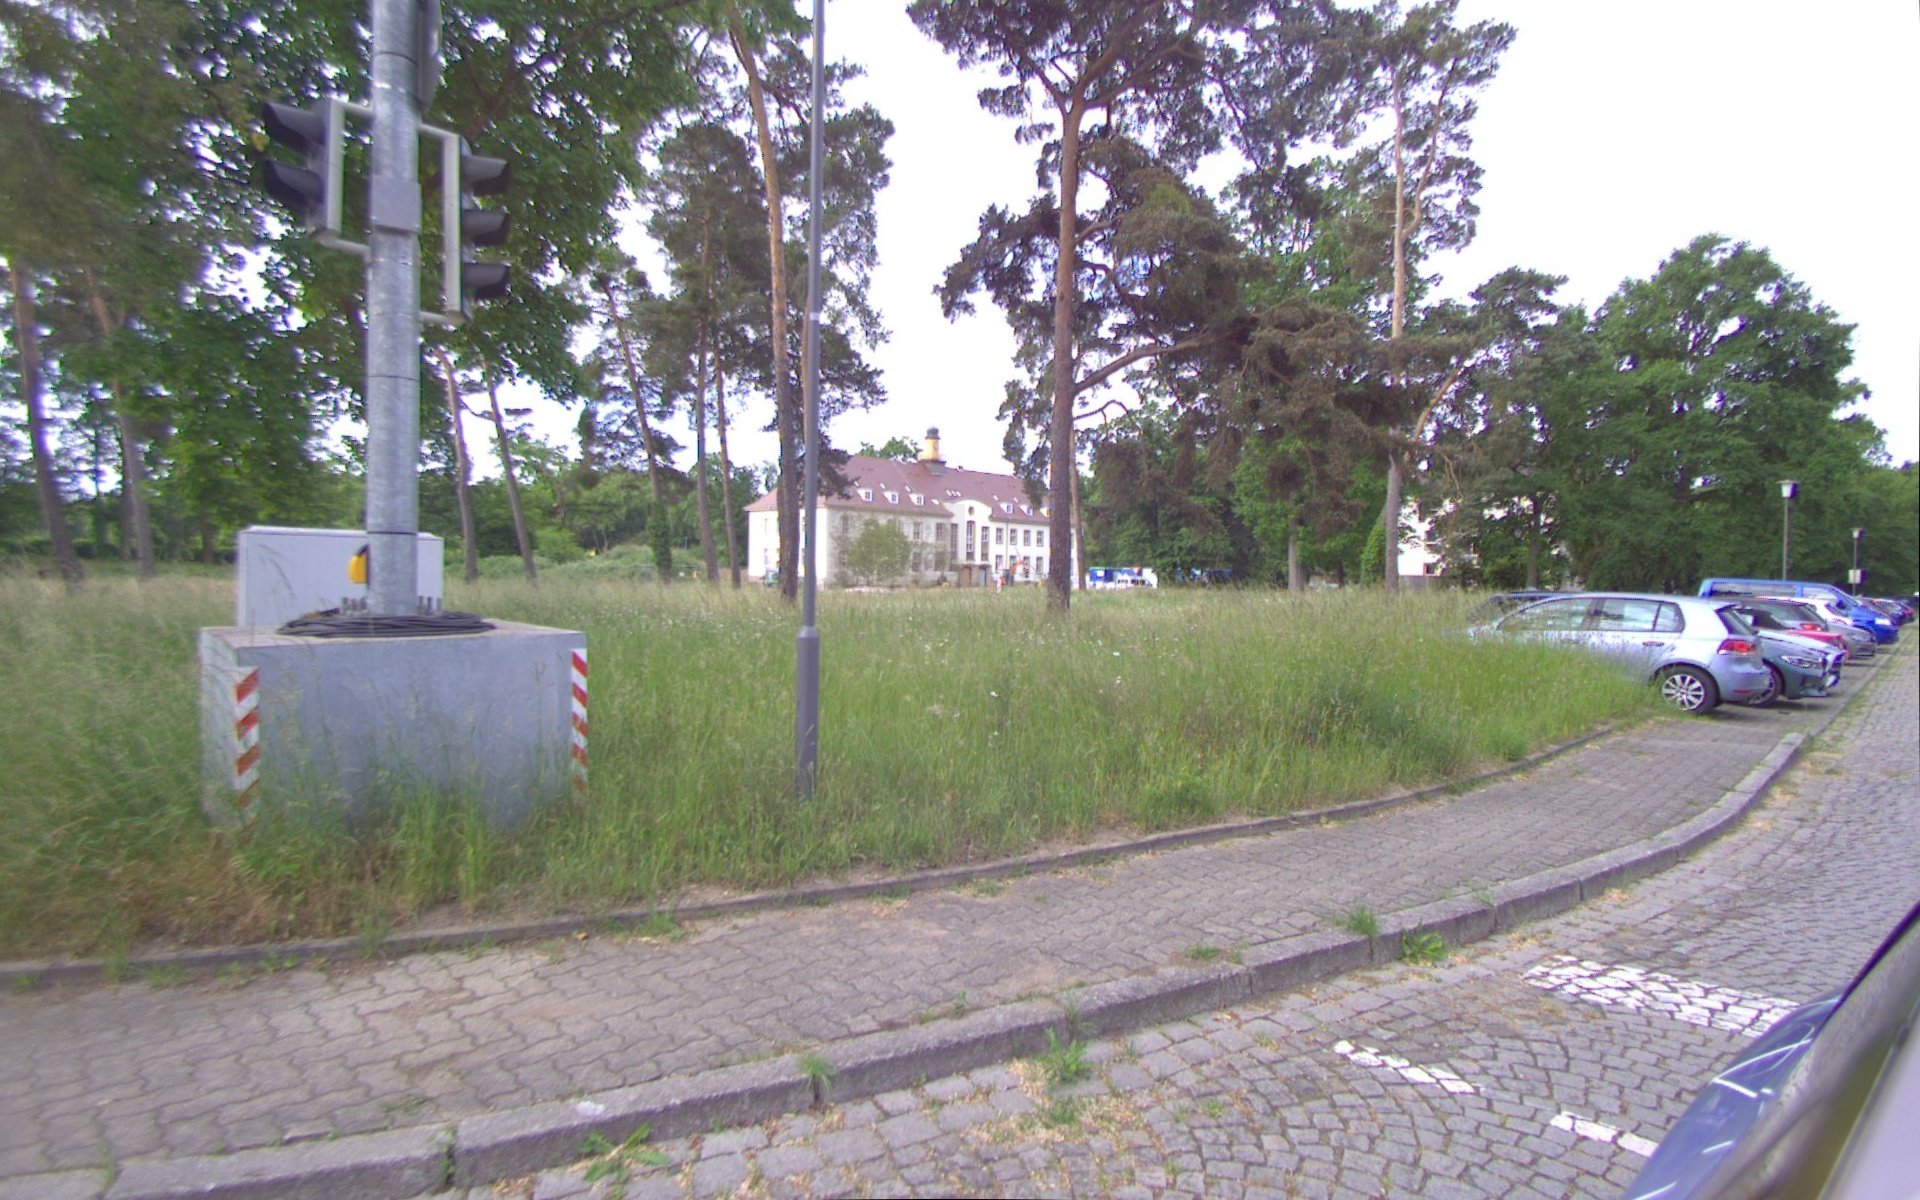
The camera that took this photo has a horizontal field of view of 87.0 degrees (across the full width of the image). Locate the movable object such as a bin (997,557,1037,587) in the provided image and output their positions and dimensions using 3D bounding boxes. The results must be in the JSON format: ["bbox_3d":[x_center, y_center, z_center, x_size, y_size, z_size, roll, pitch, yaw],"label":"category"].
[{"bbox_3d":[7.401,-3.637,131.351,2.017,3.817,5.456,0,1,-40],"label":"movable object such as a bin"}]

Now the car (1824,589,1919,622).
[{"bbox_3d":[48.842,0.282,53.824,1.694,1.552,4.097,1,2,-37],"label":"car"}]

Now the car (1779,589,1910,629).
[{"bbox_3d":[38.098,0.367,43.656,1.697,1.462,4.080,0,3,-42],"label":"car"}]

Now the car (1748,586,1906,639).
[{"bbox_3d":[31.063,0.400,36.334,1.626,1.612,4.081,0,3,-41],"label":"car"}]

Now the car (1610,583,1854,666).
[{"bbox_3d":[17.018,0.464,22.469,1.573,1.535,4.048,0,3,-41],"label":"car"}]

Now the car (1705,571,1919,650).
[{"bbox_3d":[25.078,0.230,29.930,1.879,2.030,4.598,-1,3,-42],"label":"car"}]

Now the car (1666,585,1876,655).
[{"bbox_3d":[21.067,0.464,26.414,1.573,1.535,4.048,0,3,-41],"label":"car"}]

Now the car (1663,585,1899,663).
[{"bbox_3d":[19.374,0.490,24.028,1.671,1.535,4.095,0,3,-41],"label":"car"}]

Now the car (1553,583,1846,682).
[{"bbox_3d":[13.740,0.512,18.989,1.689,1.500,4.178,0,3,-43],"label":"car"}]

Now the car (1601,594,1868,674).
[{"bbox_3d":[15.437,0.611,20.327,1.524,1.255,4.045,0,3,-43],"label":"car"}]

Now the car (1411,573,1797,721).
[{"bbox_3d":[8.386,0.485,13.418,4.004,1.446,1.671,6,4,44],"label":"car"}]

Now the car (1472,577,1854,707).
[{"bbox_3d":[10.325,0.501,15.130,4.432,1.400,1.637,6,4,44],"label":"car"}]

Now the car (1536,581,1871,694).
[{"bbox_3d":[12.302,0.520,16.970,1.688,1.491,4.244,0,3,-42],"label":"car"}]

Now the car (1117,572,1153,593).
[{"bbox_3d":[19.899,-1.979,115.242,4.375,2.394,1.858,-1,1,-45],"label":"car"}]

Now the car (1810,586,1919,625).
[{"bbox_3d":[45.452,0.223,50.695,1.694,1.715,4.087,1,2,-37],"label":"car"}]
